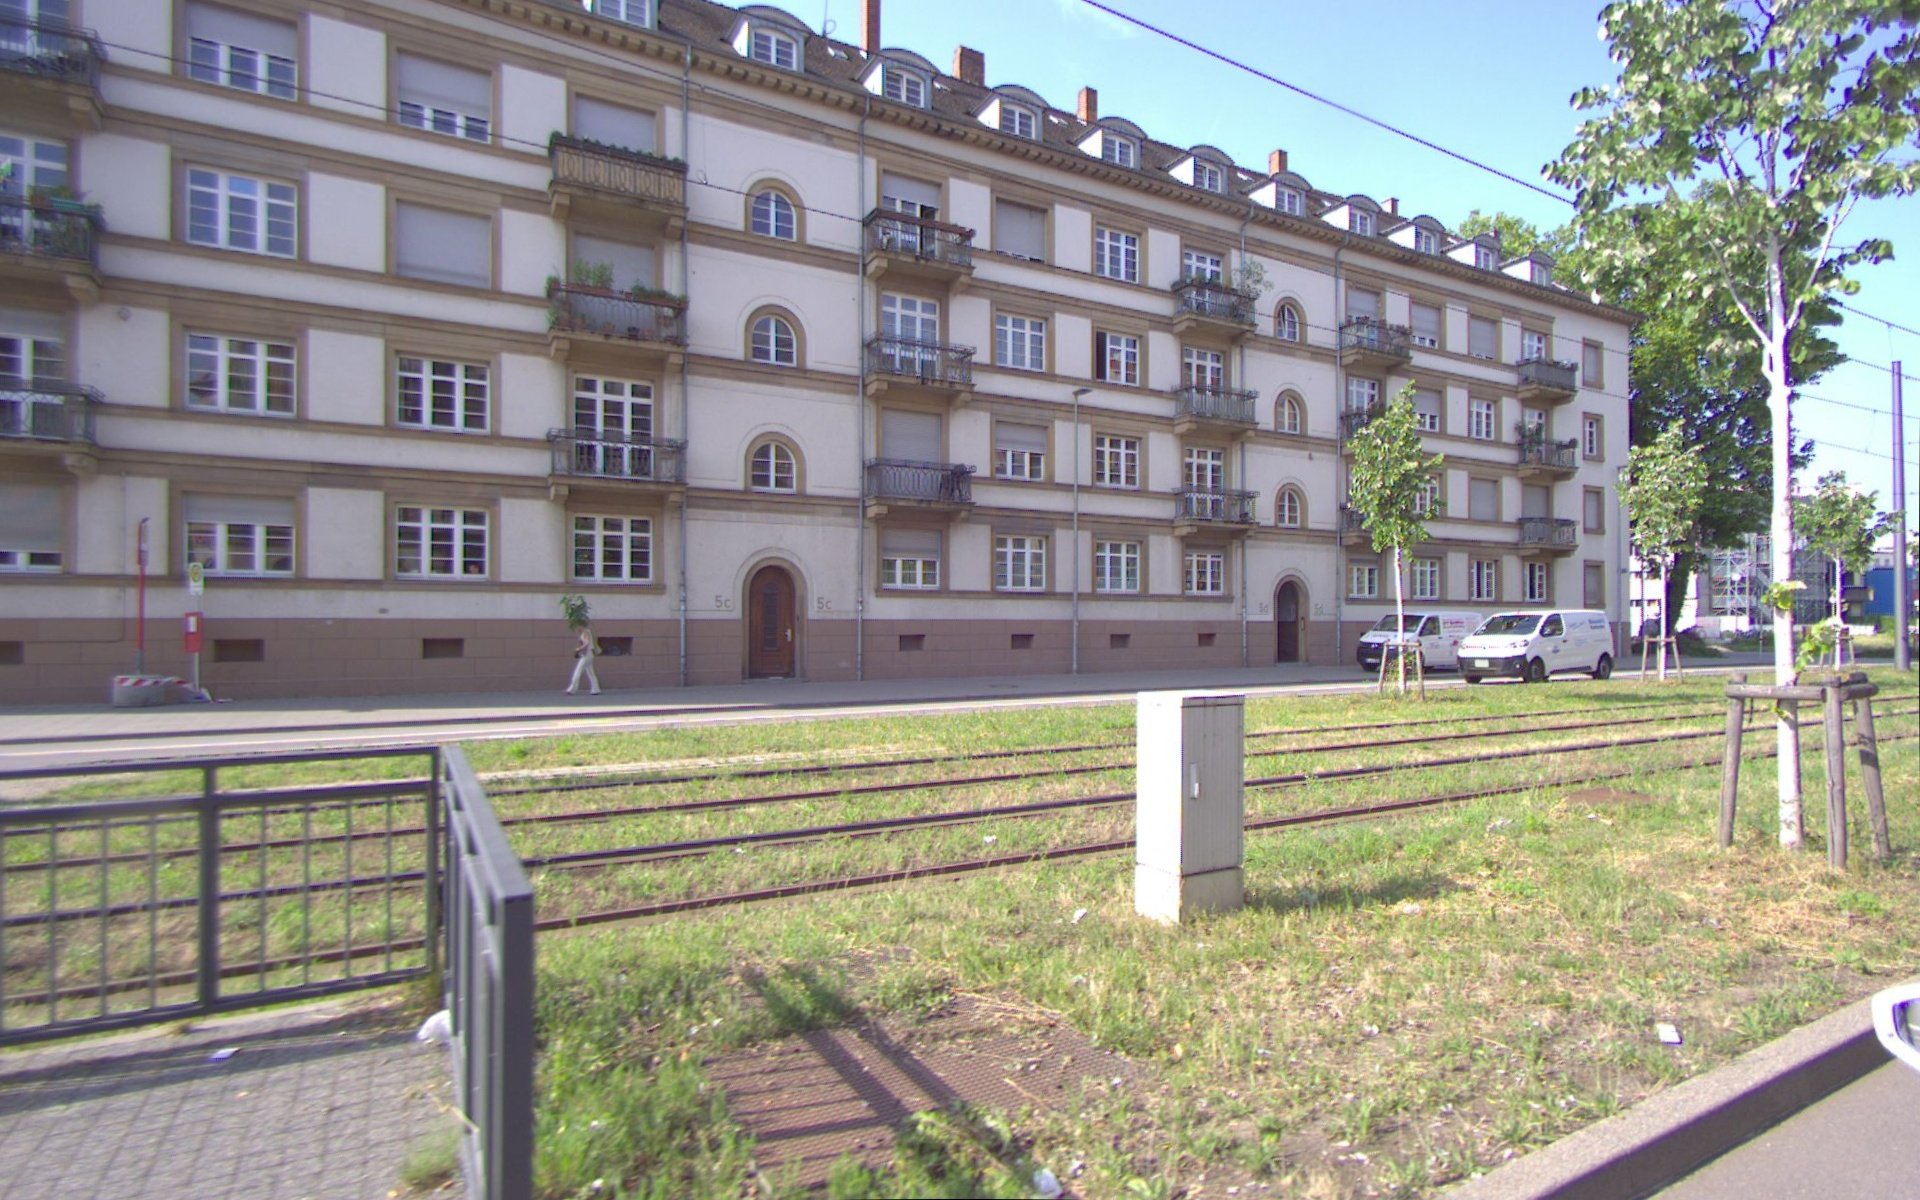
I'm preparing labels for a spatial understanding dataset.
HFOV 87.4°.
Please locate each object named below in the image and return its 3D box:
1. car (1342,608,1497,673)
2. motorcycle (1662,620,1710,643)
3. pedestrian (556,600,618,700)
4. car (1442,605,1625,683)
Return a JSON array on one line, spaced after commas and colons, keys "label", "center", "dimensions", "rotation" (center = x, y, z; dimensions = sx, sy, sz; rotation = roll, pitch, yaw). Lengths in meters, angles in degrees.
[{"label": "car", "center": [14.952, 1.267, 32.630], "dimensions": [5.090, 1.944, 1.984], "rotation": [0, 0, -30]}, {"label": "motorcycle", "center": [44.084, 1.927, 61.013], "dimensions": [2.253, 1.387, 0.818], "rotation": [-1, -1, 24]}, {"label": "pedestrian", "center": [-8.028, 1.053, 21.630], "dimensions": [1.142, 2.096, 0.838], "rotation": [0, 0, -29]}, {"label": "car", "center": [15.453, 1.140, 27.011], "dimensions": [4.985, 1.920, 1.985], "rotation": [0, -2, -30]}]
